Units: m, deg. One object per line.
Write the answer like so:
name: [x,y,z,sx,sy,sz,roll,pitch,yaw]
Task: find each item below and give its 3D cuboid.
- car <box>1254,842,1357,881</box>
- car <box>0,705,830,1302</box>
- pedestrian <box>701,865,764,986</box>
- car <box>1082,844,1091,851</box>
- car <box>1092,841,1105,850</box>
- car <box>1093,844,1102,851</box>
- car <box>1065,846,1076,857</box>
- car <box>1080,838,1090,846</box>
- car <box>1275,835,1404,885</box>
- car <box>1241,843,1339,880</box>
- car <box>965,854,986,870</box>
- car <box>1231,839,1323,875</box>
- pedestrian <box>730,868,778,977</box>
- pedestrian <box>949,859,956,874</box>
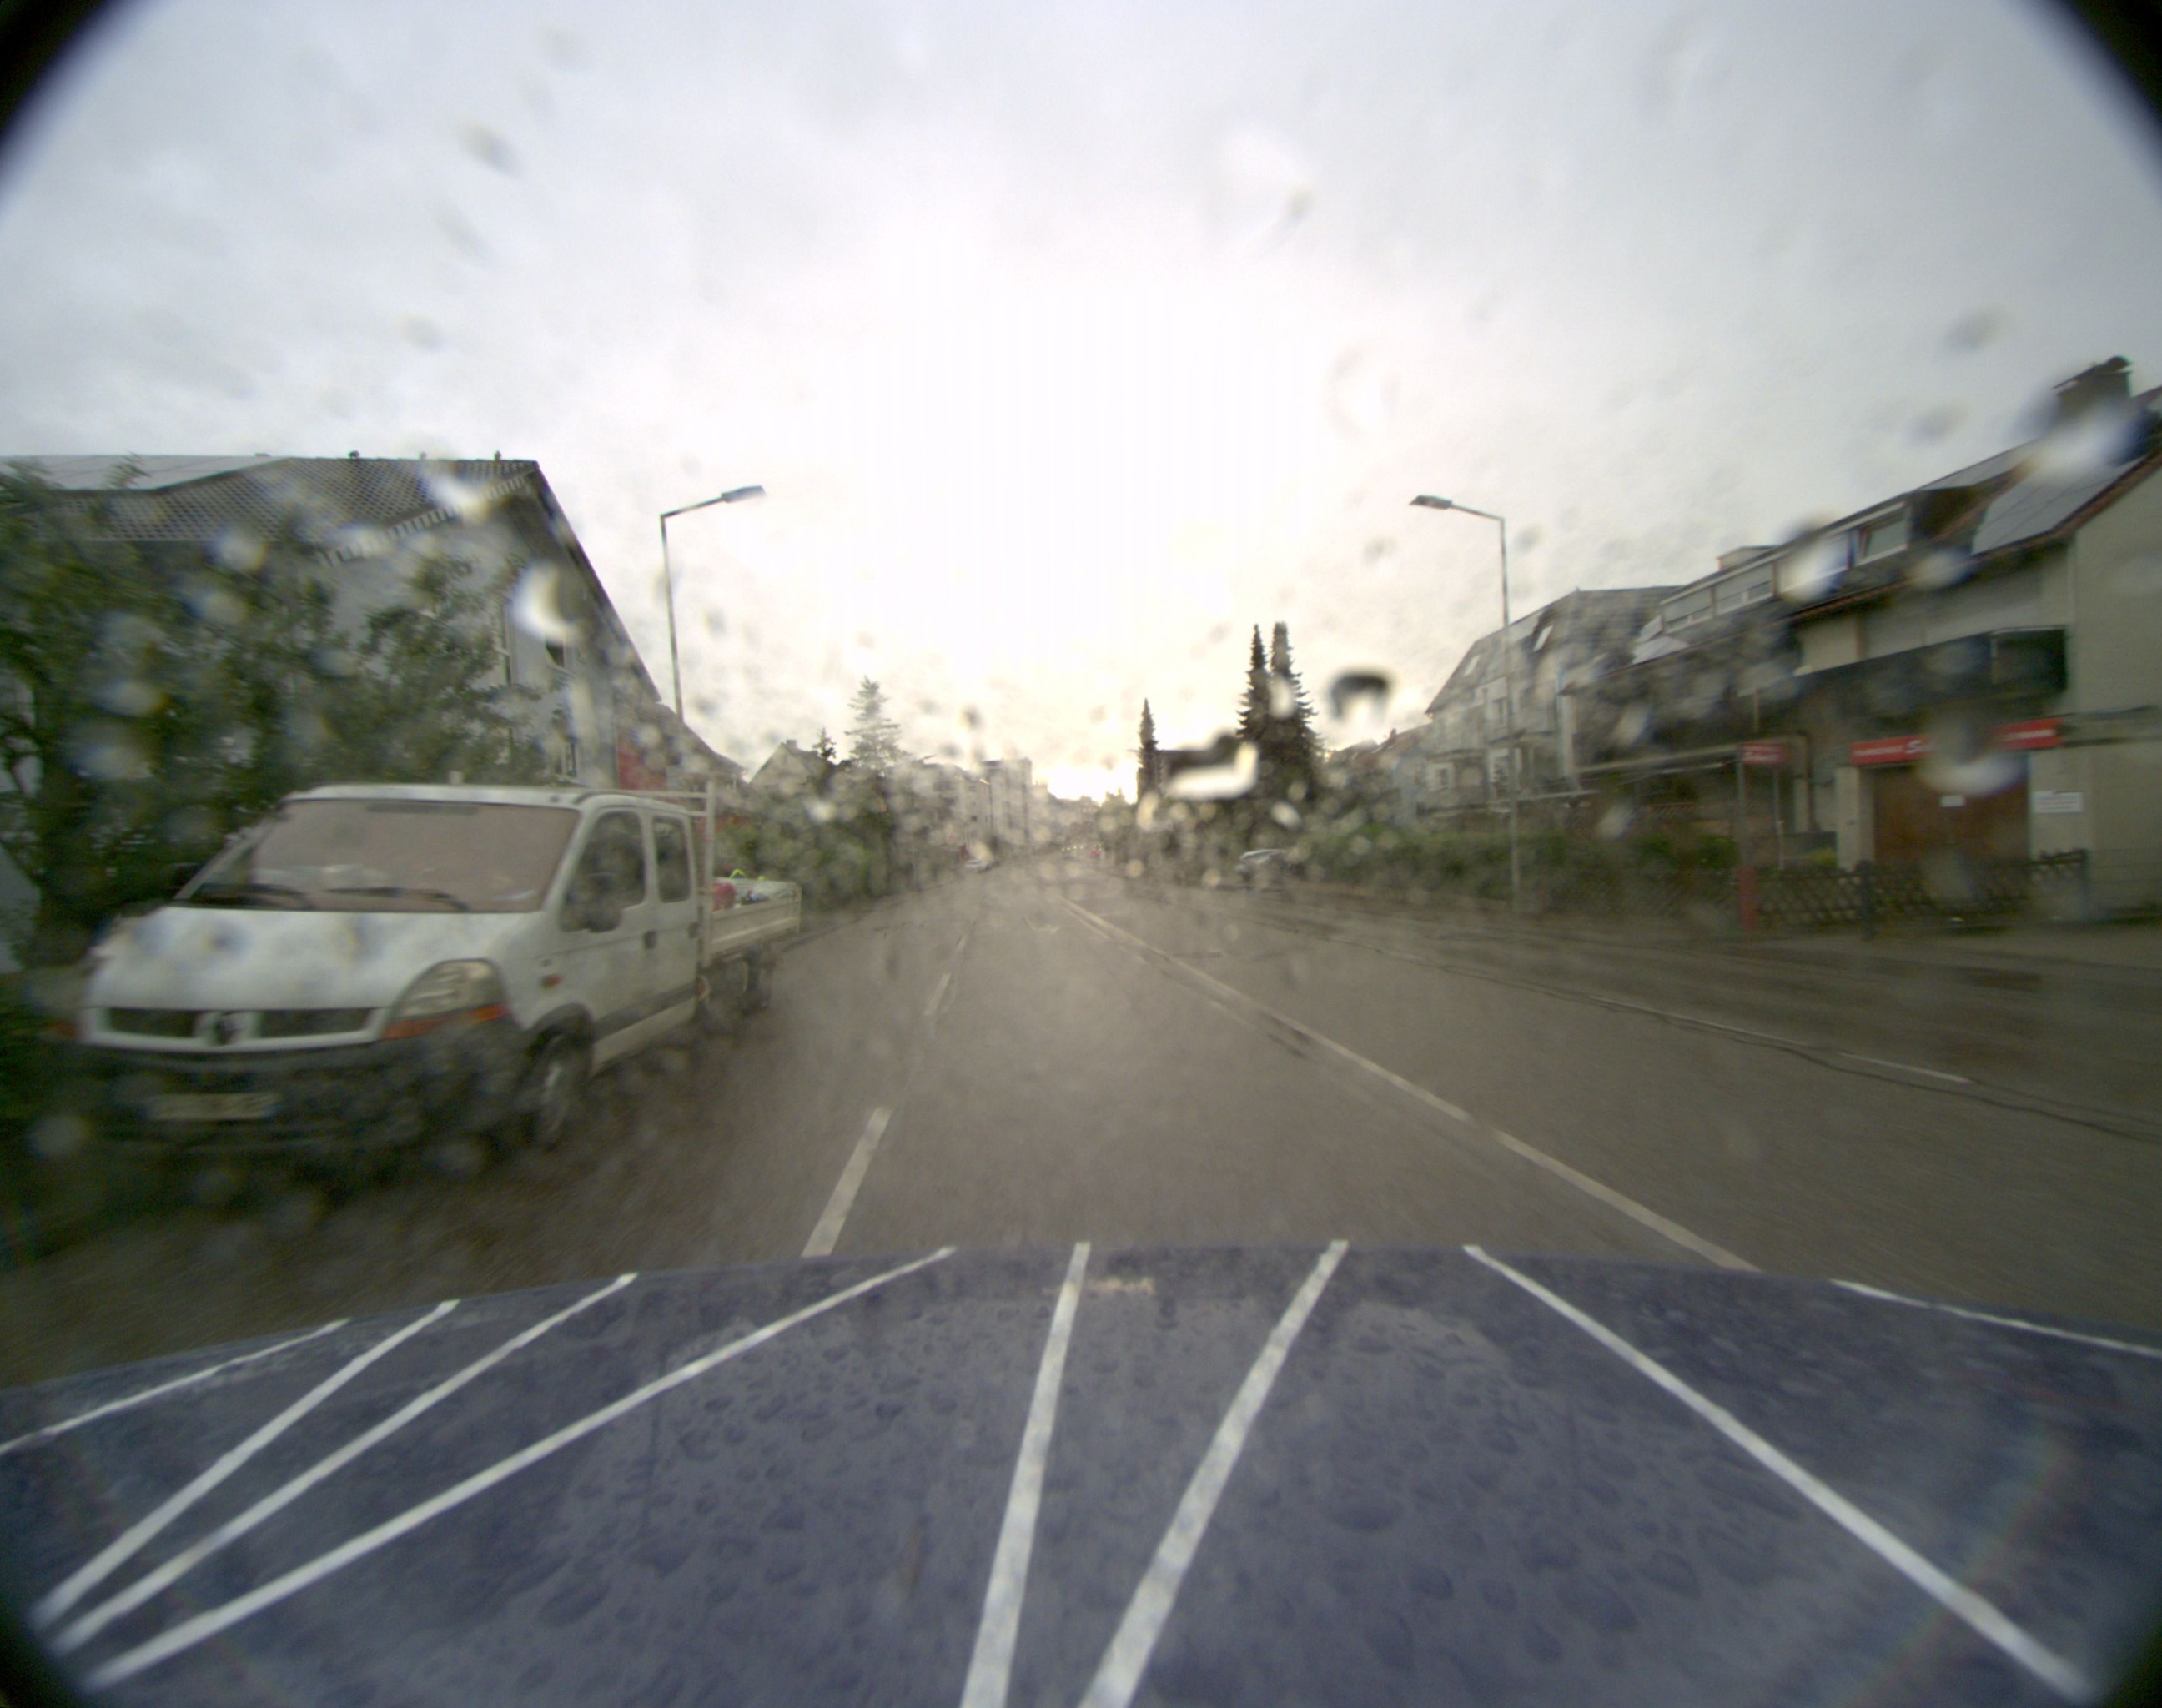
car: [10.062,0.318,34.279,4.036,1.434,1.812,-4,1,-1]
car: [-4.102,0.608,6.381,2.398,2.418,6.429,-2,0,-6]
pedestrian: [-5.117,1.012,11.211,0.712,1.697,0.891,-1,0,-17]
car: [1.626,-1.658,205.487,1.851,1.753,4.123,-3,1,8]
car: [3.117,-1.512,136.978,1.998,1.606,4.001,-3,1,5]
car: [4.336,-1.746,203.673,1.851,1.753,4.123,-3,1,8]
car: [-1.948,-0.454,139.957,1.852,1.870,4.120,-3,1,-2]
car: [0.955,-2.701,170.791,1.851,1.753,4.122,-3,1,4]
car: [10.405,0.225,30.797,4.469,1.651,2.000,-4,1,1]
car: [10.031,0.354,36.670,4.157,1.434,1.890,-4,1,1]
car: [-12.195,0.922,88.108,1.913,1.622,3.701,-3,1,-2]
car: [10.105,0.135,39.406,4.116,1.536,2.000,-4,1,-1]
pedestrian: [-5.226,1.061,12.191,0.577,1.654,0.942,-1,0,-17]
pedestrian: [-14.580,1.446,86.172,0.697,1.622,0.620,-3,1,-7]
